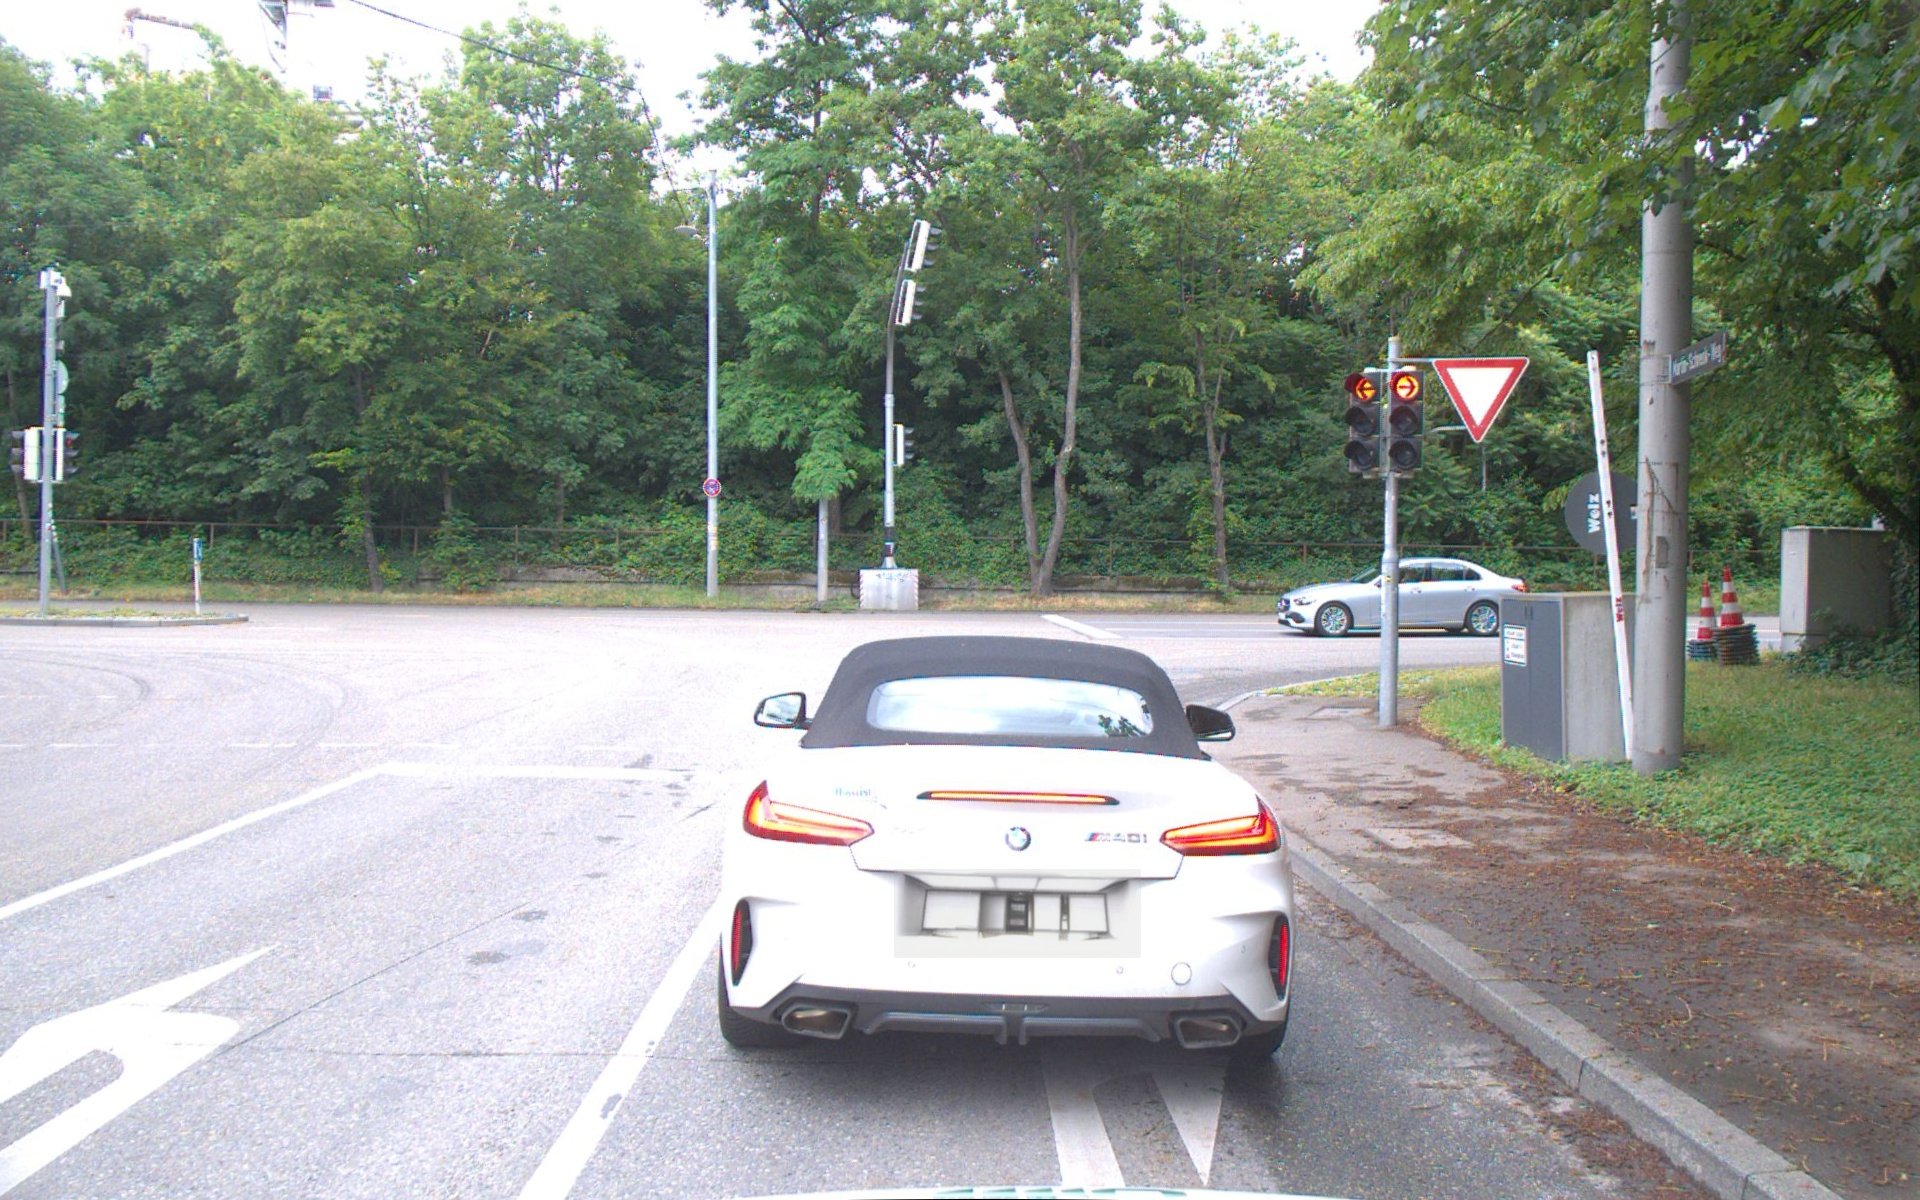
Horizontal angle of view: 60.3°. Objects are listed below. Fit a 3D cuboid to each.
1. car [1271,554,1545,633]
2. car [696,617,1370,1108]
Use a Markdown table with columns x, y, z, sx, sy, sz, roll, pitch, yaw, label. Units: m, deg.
| x | y | z | sx | sy | sz | roll | pitch | yaw | label |
| --- | --- | --- | --- | --- | --- | --- | --- | --- | --- |
| 8.389 | -0.146 | 31.237 | 4.656 | 1.356 | 1.833 | 1 | 3 | -3 | car |
| 0.112 | 0.752 | 6.449 | 1.791 | 1.279 | 3.997 | 2 | -1 | -3 | car |
